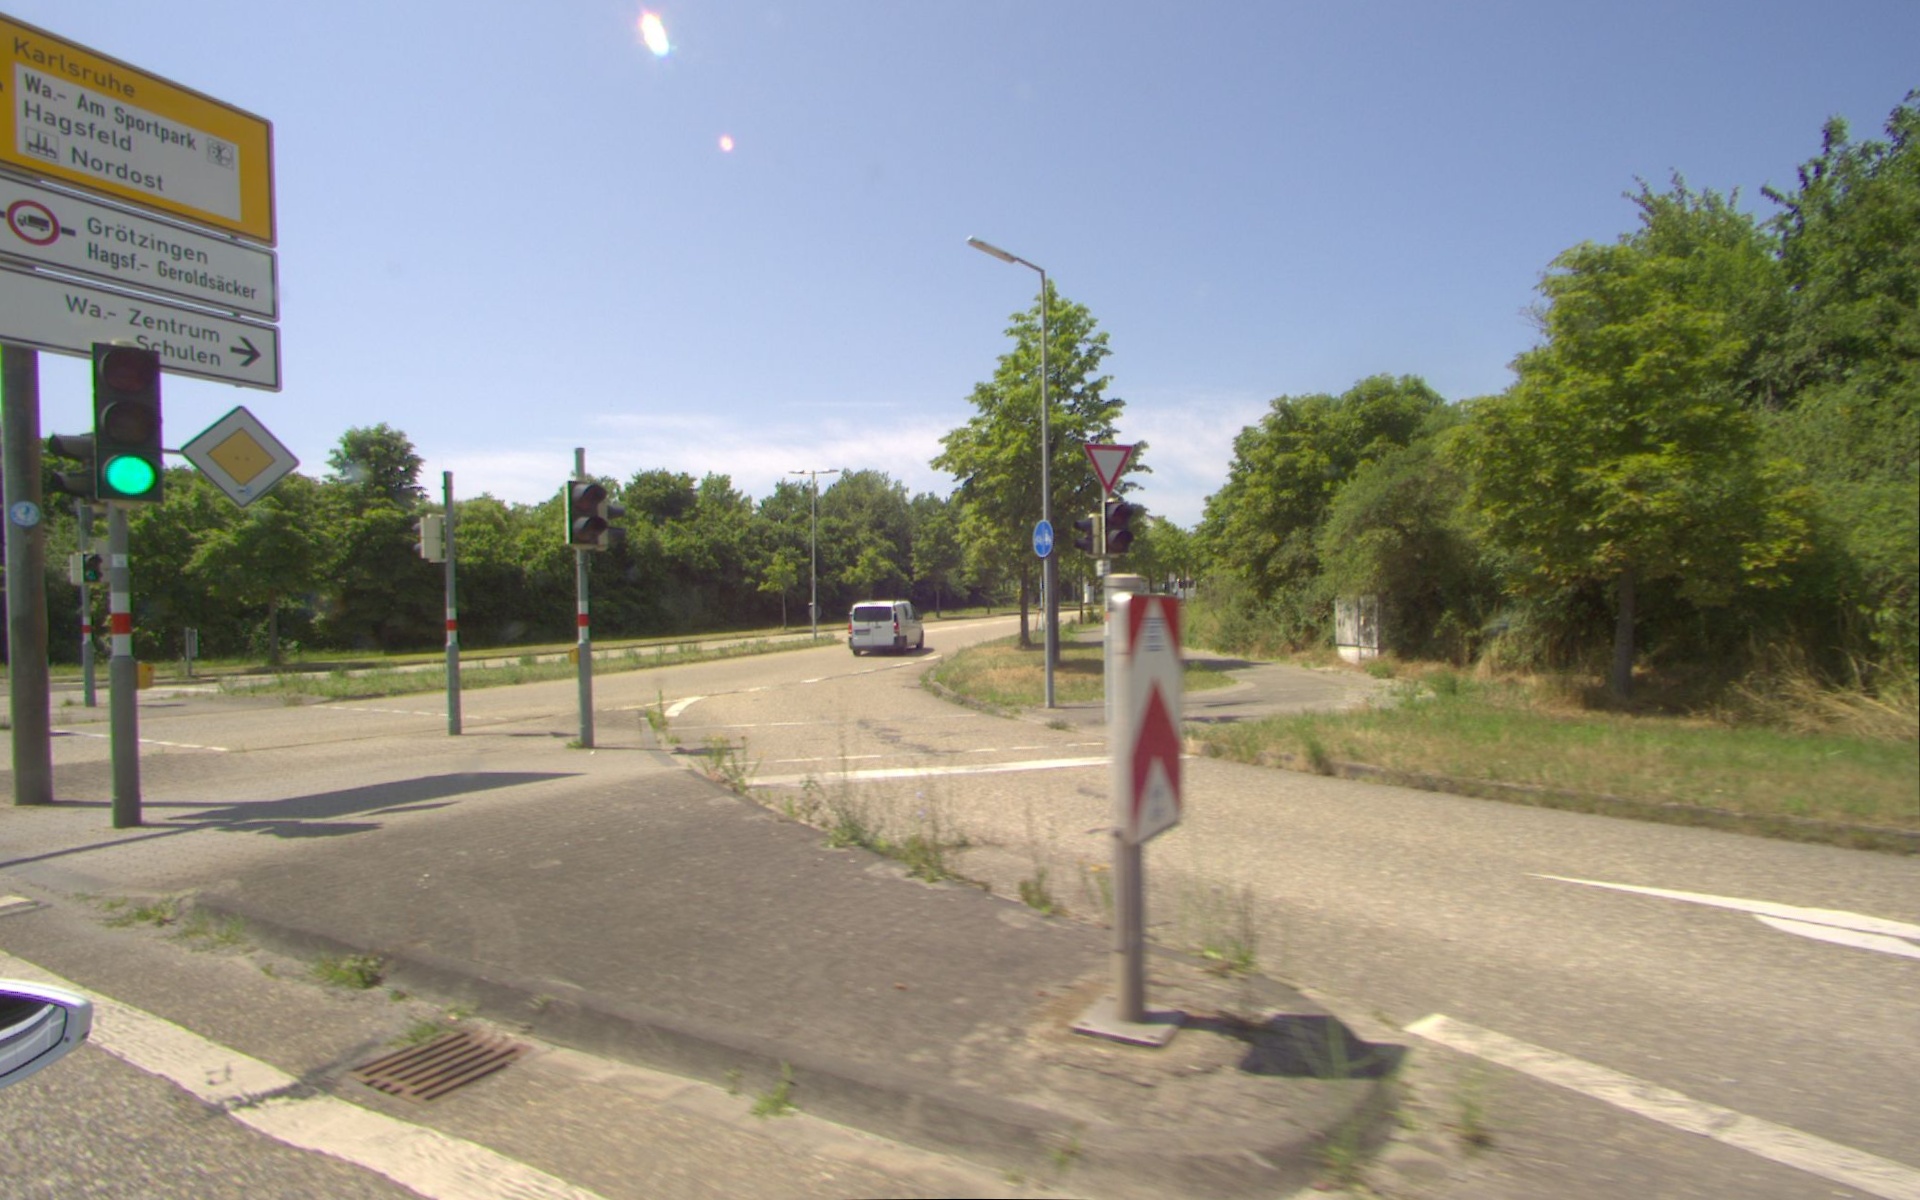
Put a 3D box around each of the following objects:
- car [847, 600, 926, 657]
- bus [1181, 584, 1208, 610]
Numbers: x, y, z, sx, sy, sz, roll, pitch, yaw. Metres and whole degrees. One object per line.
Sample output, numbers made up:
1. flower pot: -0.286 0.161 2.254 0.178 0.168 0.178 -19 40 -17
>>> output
1. car: -2.566 0.961 36.347 1.830 1.843 4.905 0 1 8
2. bus: 30.918 -0.288 131.566 2.584 3.127 12.063 -1 -1 17
